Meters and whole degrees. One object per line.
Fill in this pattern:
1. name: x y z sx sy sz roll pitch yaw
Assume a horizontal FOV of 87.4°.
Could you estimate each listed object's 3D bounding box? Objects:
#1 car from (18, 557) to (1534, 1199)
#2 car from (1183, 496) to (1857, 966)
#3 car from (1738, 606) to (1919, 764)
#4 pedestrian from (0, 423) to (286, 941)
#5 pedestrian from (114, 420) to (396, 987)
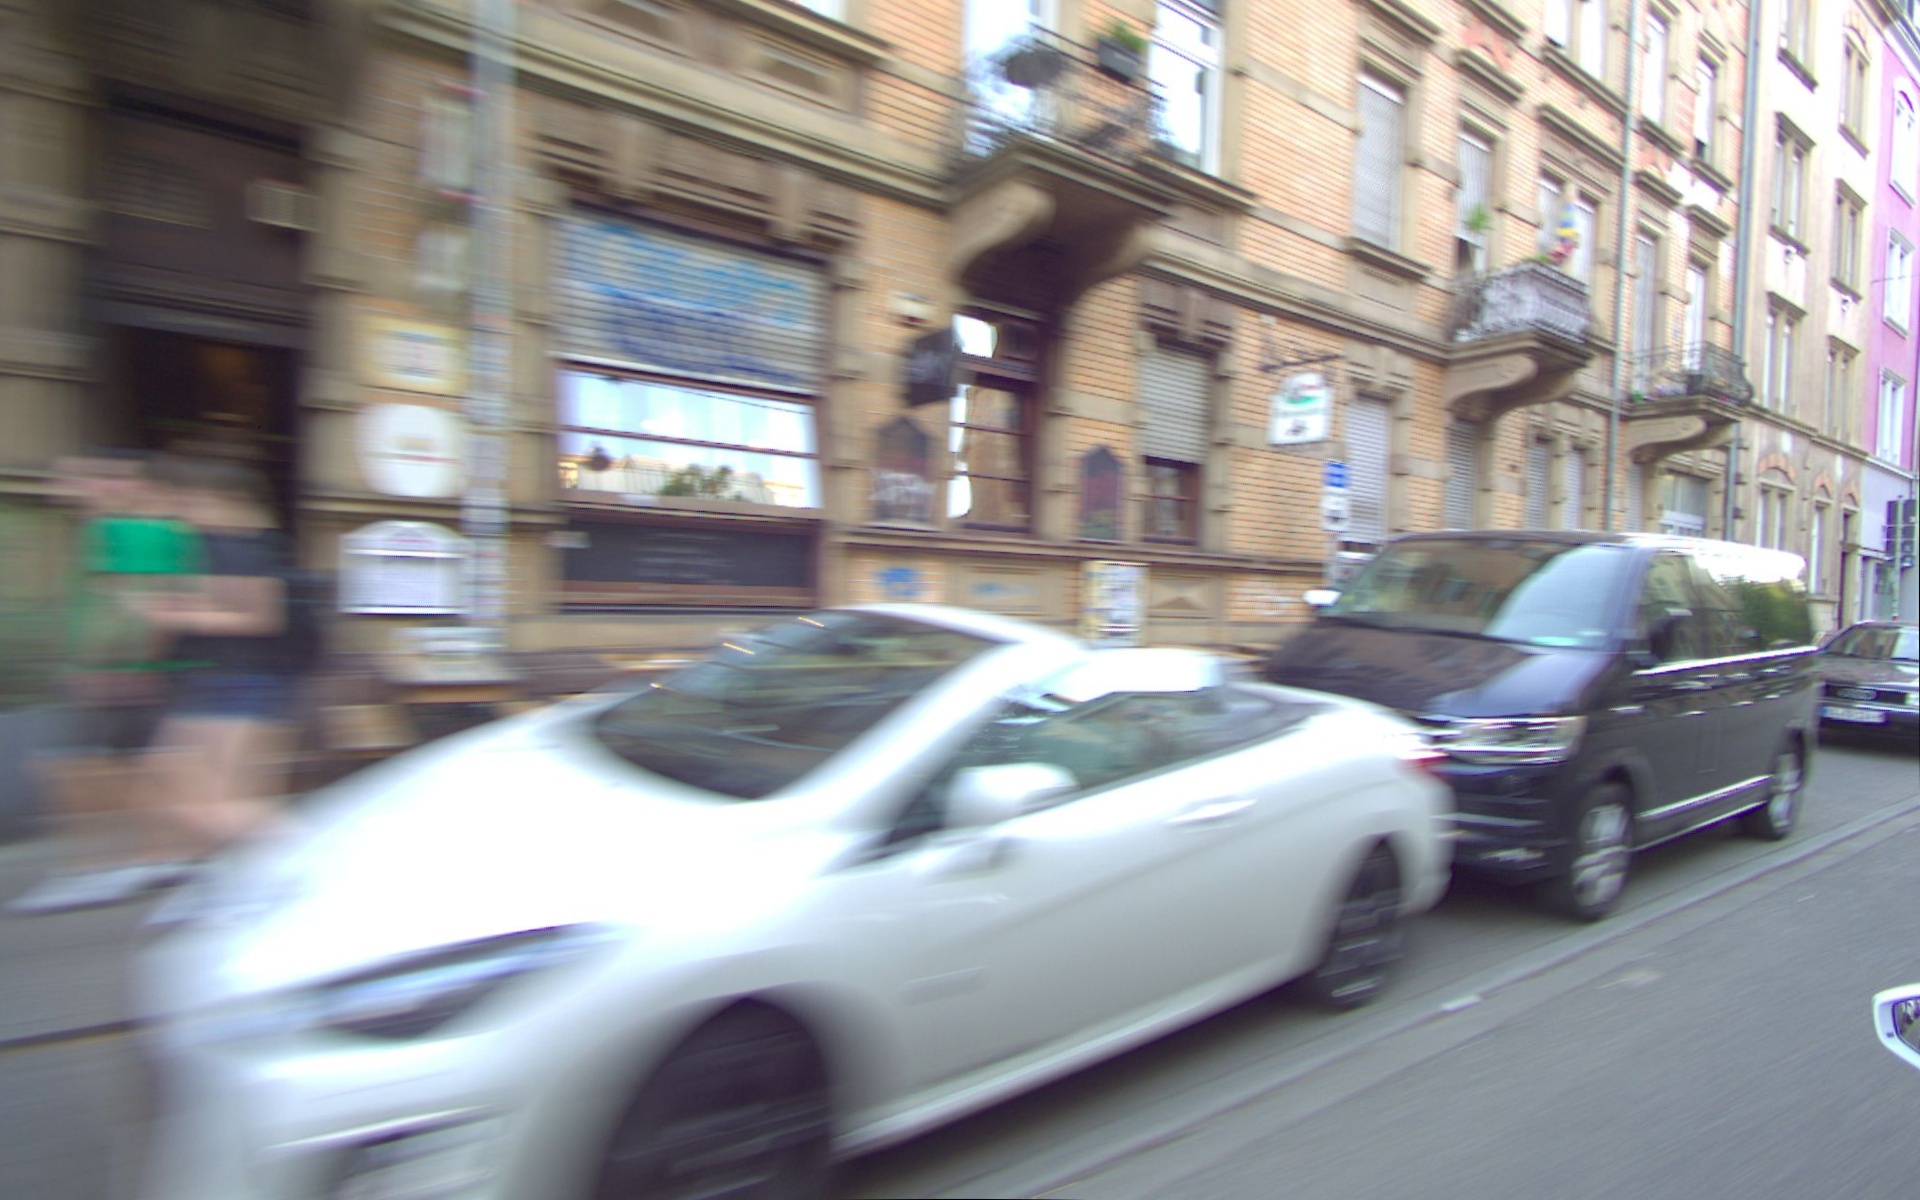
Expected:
1. car: -0.015 0.696 3.395 4.445 1.442 1.770 1 3 -38
2. car: 3.837 0.521 6.451 4.908 1.950 1.977 1 3 -39
3. car: 10.883 0.900 11.608 4.734 1.437 1.724 2 2 -37
4. pedestrian: -3.227 0.271 3.883 0.989 1.796 0.575 0 5 -40
5. pedestrian: -2.539 0.318 3.632 0.771 1.796 0.600 0 5 -40
